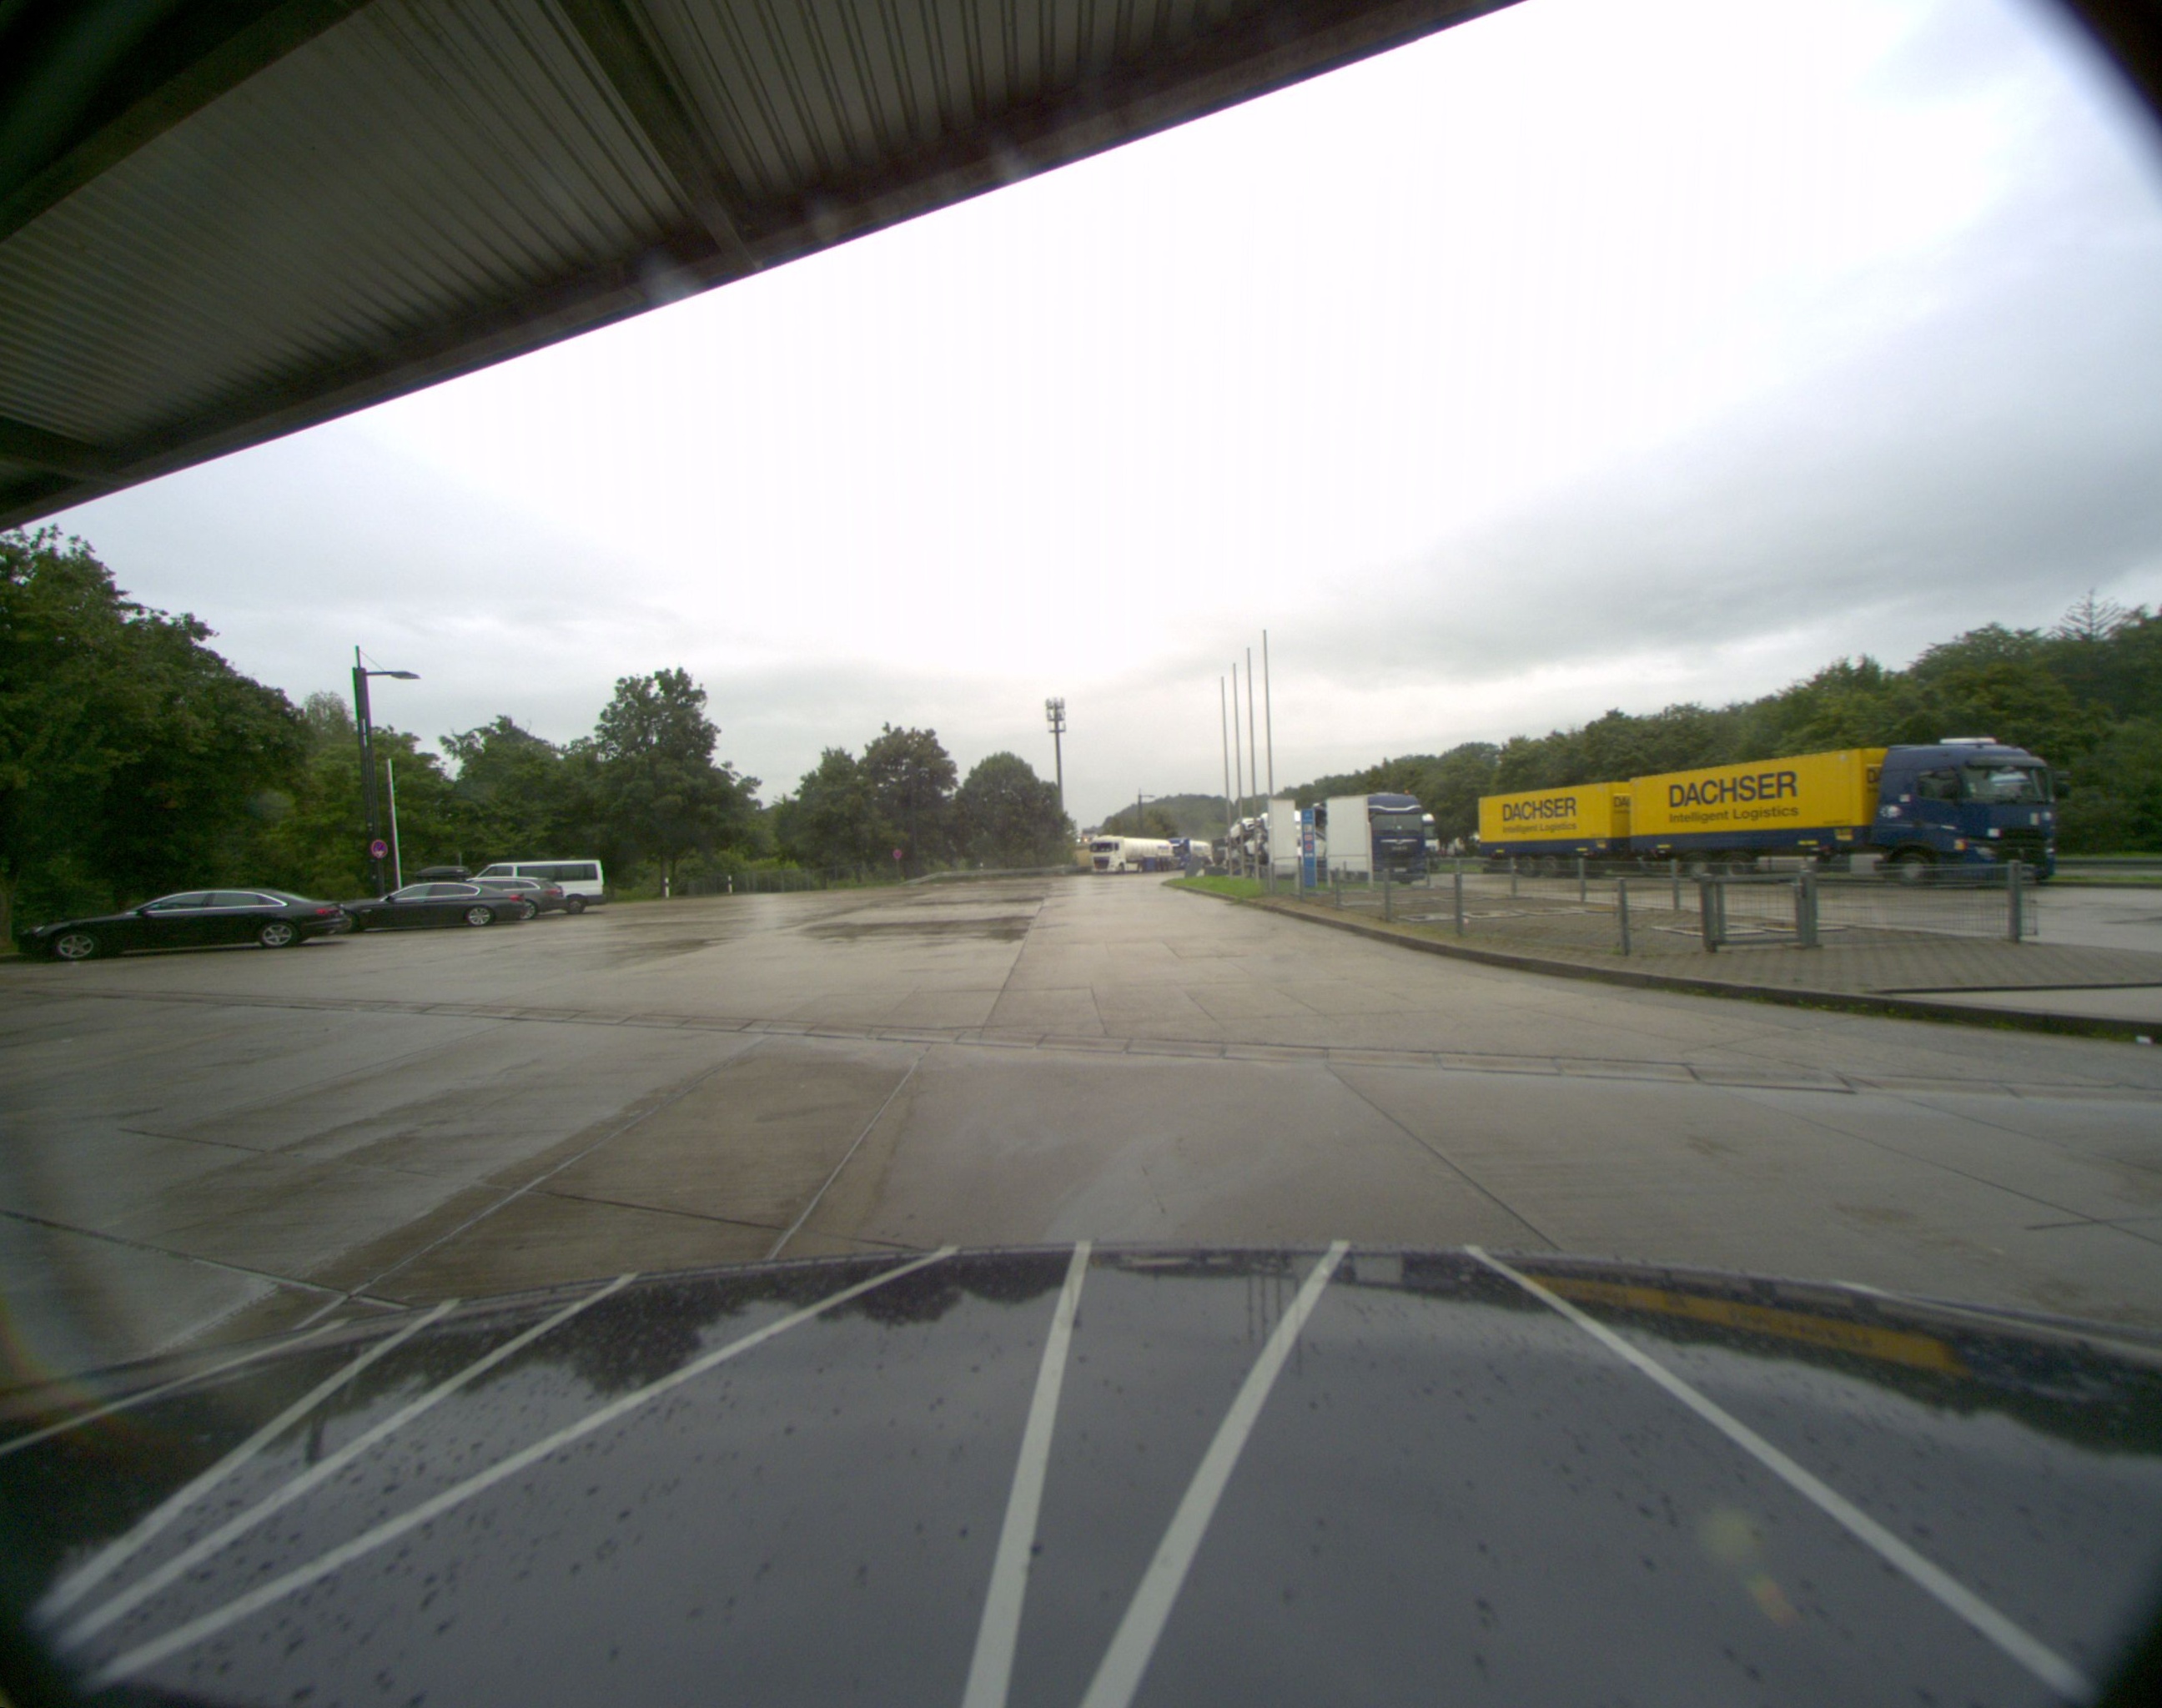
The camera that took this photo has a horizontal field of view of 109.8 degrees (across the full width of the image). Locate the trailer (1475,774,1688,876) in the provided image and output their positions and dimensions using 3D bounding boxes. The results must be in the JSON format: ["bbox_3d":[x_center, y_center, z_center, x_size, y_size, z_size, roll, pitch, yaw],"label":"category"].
[{"bbox_3d":[21.798,-1.180,33.928,2.757,3.894,8.700,-2,1,-9],"label":"trailer"}]

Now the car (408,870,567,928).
[{"bbox_3d":[-19.467,1.427,25.143,4.007,1.650,1.596,-2,0,-35],"label":"car"}]

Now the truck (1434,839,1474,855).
[{"bbox_3d":[48.466,-0.872,98.866,2.000,2.002,4.929,-2,1,-11],"label":"truck"}]

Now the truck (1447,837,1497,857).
[{"bbox_3d":[45.818,-0.810,89.202,2.082,2.112,5.827,-2,1,-10],"label":"truck"}]

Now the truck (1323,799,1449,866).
[{"bbox_3d":[19.891,-1.295,50.549,2.757,3.894,10.678,-2,1,-8],"label":"truck"}]

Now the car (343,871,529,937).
[{"bbox_3d":[-18.871,1.394,22.491,4.007,1.650,1.596,-2,0,-35],"label":"car"}]

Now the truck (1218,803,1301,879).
[{"bbox_3d":[10.578,-0.724,45.760,2.665,4.157,6.618,-2,1,-6],"label":"truck"}]

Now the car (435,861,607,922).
[{"bbox_3d":[-20.422,1.288,27.980,4.898,1.938,2.310,-2,0,-35],"label":"car"}]

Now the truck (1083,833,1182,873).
[{"bbox_3d":[5.464,-0.159,75.190,3.505,3.584,14.426,-2,0,31],"label":"truck"}]

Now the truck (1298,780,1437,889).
[{"bbox_3d":[12.190,-0.793,33.161,2.665,4.157,7.103,-2,0,-6],"label":"truck"}]

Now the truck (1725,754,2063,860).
[{"bbox_3d":[33.917,-1.755,32.692,2.421,3.785,10.223,-2,1,-10],"label":"truck"}]

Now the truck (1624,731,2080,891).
[{"bbox_3d":[23.159,-1.124,24.307,2.757,3.894,10.678,-2,1,-8],"label":"truck"}]

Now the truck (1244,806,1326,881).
[{"bbox_3d":[11.053,-0.555,41.569,2.665,3.750,4.747,-2,1,-6],"label":"truck"}]

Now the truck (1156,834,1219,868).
[{"bbox_3d":[12.793,-0.400,89.671,3.506,3.584,14.686,-2,0,23],"label":"truck"}]

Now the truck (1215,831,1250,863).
[{"bbox_3d":[21.347,-1.014,107.829,3.143,4.105,11.523,-2,1,3],"label":"truck"}]
